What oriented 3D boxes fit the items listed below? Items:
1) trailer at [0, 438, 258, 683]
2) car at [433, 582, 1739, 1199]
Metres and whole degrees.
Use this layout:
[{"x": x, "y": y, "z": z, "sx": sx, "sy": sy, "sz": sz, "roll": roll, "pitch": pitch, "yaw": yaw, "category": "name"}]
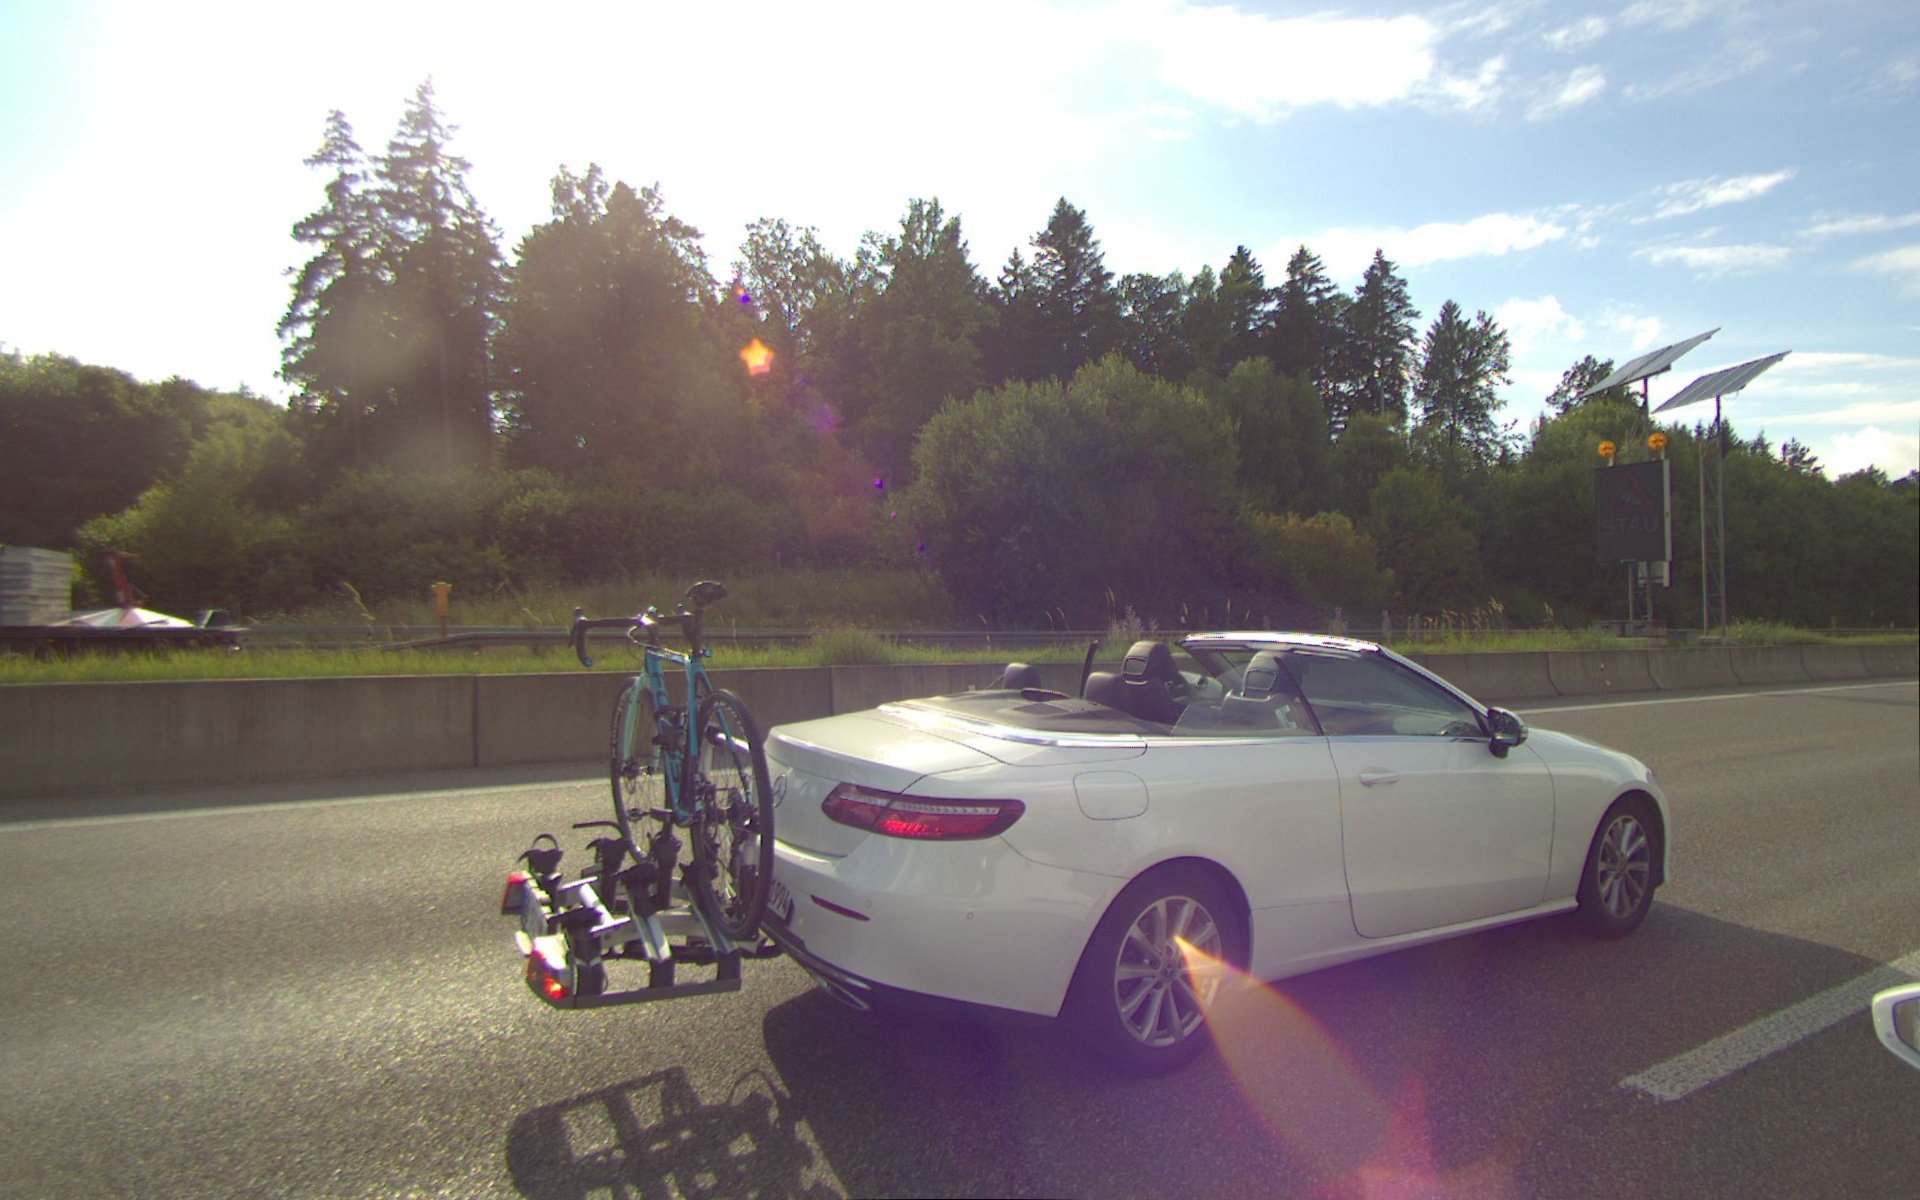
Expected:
[{"x": -18.552, "y": -0.668, "z": 15.762, "sx": 12.067, "sy": 3.889, "sz": 3.109, "roll": 1, "pitch": 0, "yaw": -31, "category": "trailer"}, {"x": 0.907, "y": 0.762, "z": 4.438, "sx": 5.668, "sy": 1.519, "sz": 2.050, "roll": 1, "pitch": 0, "yaw": -30, "category": "car"}]
